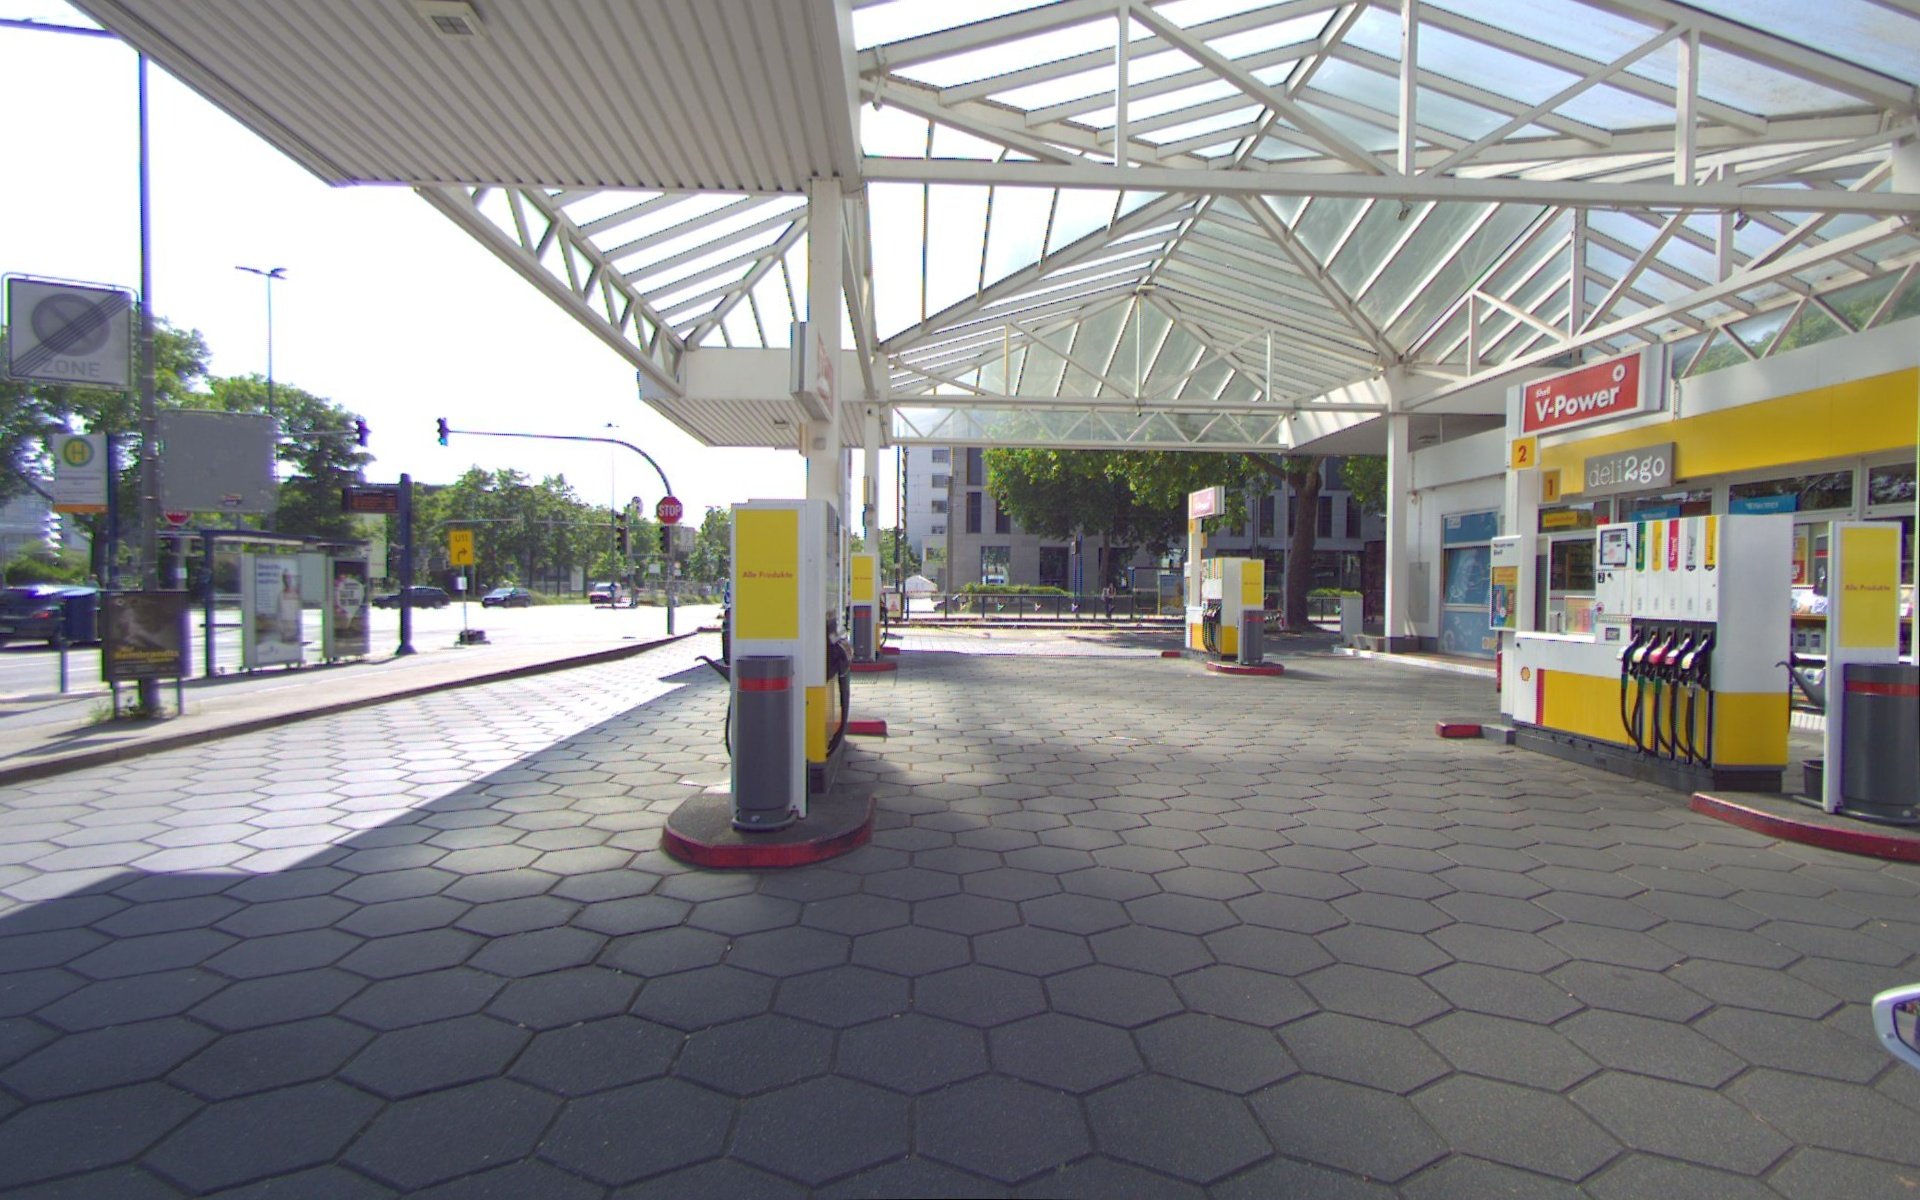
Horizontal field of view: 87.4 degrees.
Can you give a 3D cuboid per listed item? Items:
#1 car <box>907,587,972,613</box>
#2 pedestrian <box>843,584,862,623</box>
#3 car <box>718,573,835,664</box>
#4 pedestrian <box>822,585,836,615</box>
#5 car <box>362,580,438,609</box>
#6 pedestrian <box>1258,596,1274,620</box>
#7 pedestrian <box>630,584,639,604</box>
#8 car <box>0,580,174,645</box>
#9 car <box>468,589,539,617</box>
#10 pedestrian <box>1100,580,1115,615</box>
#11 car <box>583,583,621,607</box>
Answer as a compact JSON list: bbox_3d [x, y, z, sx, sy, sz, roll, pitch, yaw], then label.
[{"bbox_3d":[-1.286,0.012,63.437,3.926,1.573,1.700,0,1,-8],"label":"car"},{"bbox_3d":[-4.805,0.142,45.032,0.493,1.705,0.778,1,1,26],"label":"pedestrian"},{"bbox_3d":[-3.438,0.316,19.462,1.715,1.552,3.998,-1,0,-3],"label":"car"},{"bbox_3d":[-7.494,-0.015,57.550,0.497,1.705,0.928,0,1,-28],"label":"pedestrian"},{"bbox_3d":[-35.437,-0.350,63.643,3.940,1.727,1.990,0,1,-21],"label":"car"},{"bbox_3d":[14.743,0.399,48.342,0.617,1.153,0.524,1,1,4],"label":"pedestrian"},{"bbox_3d":[-23.855,-0.431,73.580,0.555,1.489,0.512,0,1,-10],"label":"pedestrian"},{"bbox_3d":[-21.482,0.258,24.442,1.653,1.385,4.000,2,0,-3],"label":"car"},{"bbox_3d":[-32.269,0.178,71.050,1.964,1.829,4.203,-1,0,29],"label":"car"},{"bbox_3d":[7.011,-0.117,47.709,0.574,1.613,0.670,0,2,-3],"label":"pedestrian"},{"bbox_3d":[-31.683,-0.422,88.950,1.962,2.040,4.444,-1,0,-4],"label":"car"}]
